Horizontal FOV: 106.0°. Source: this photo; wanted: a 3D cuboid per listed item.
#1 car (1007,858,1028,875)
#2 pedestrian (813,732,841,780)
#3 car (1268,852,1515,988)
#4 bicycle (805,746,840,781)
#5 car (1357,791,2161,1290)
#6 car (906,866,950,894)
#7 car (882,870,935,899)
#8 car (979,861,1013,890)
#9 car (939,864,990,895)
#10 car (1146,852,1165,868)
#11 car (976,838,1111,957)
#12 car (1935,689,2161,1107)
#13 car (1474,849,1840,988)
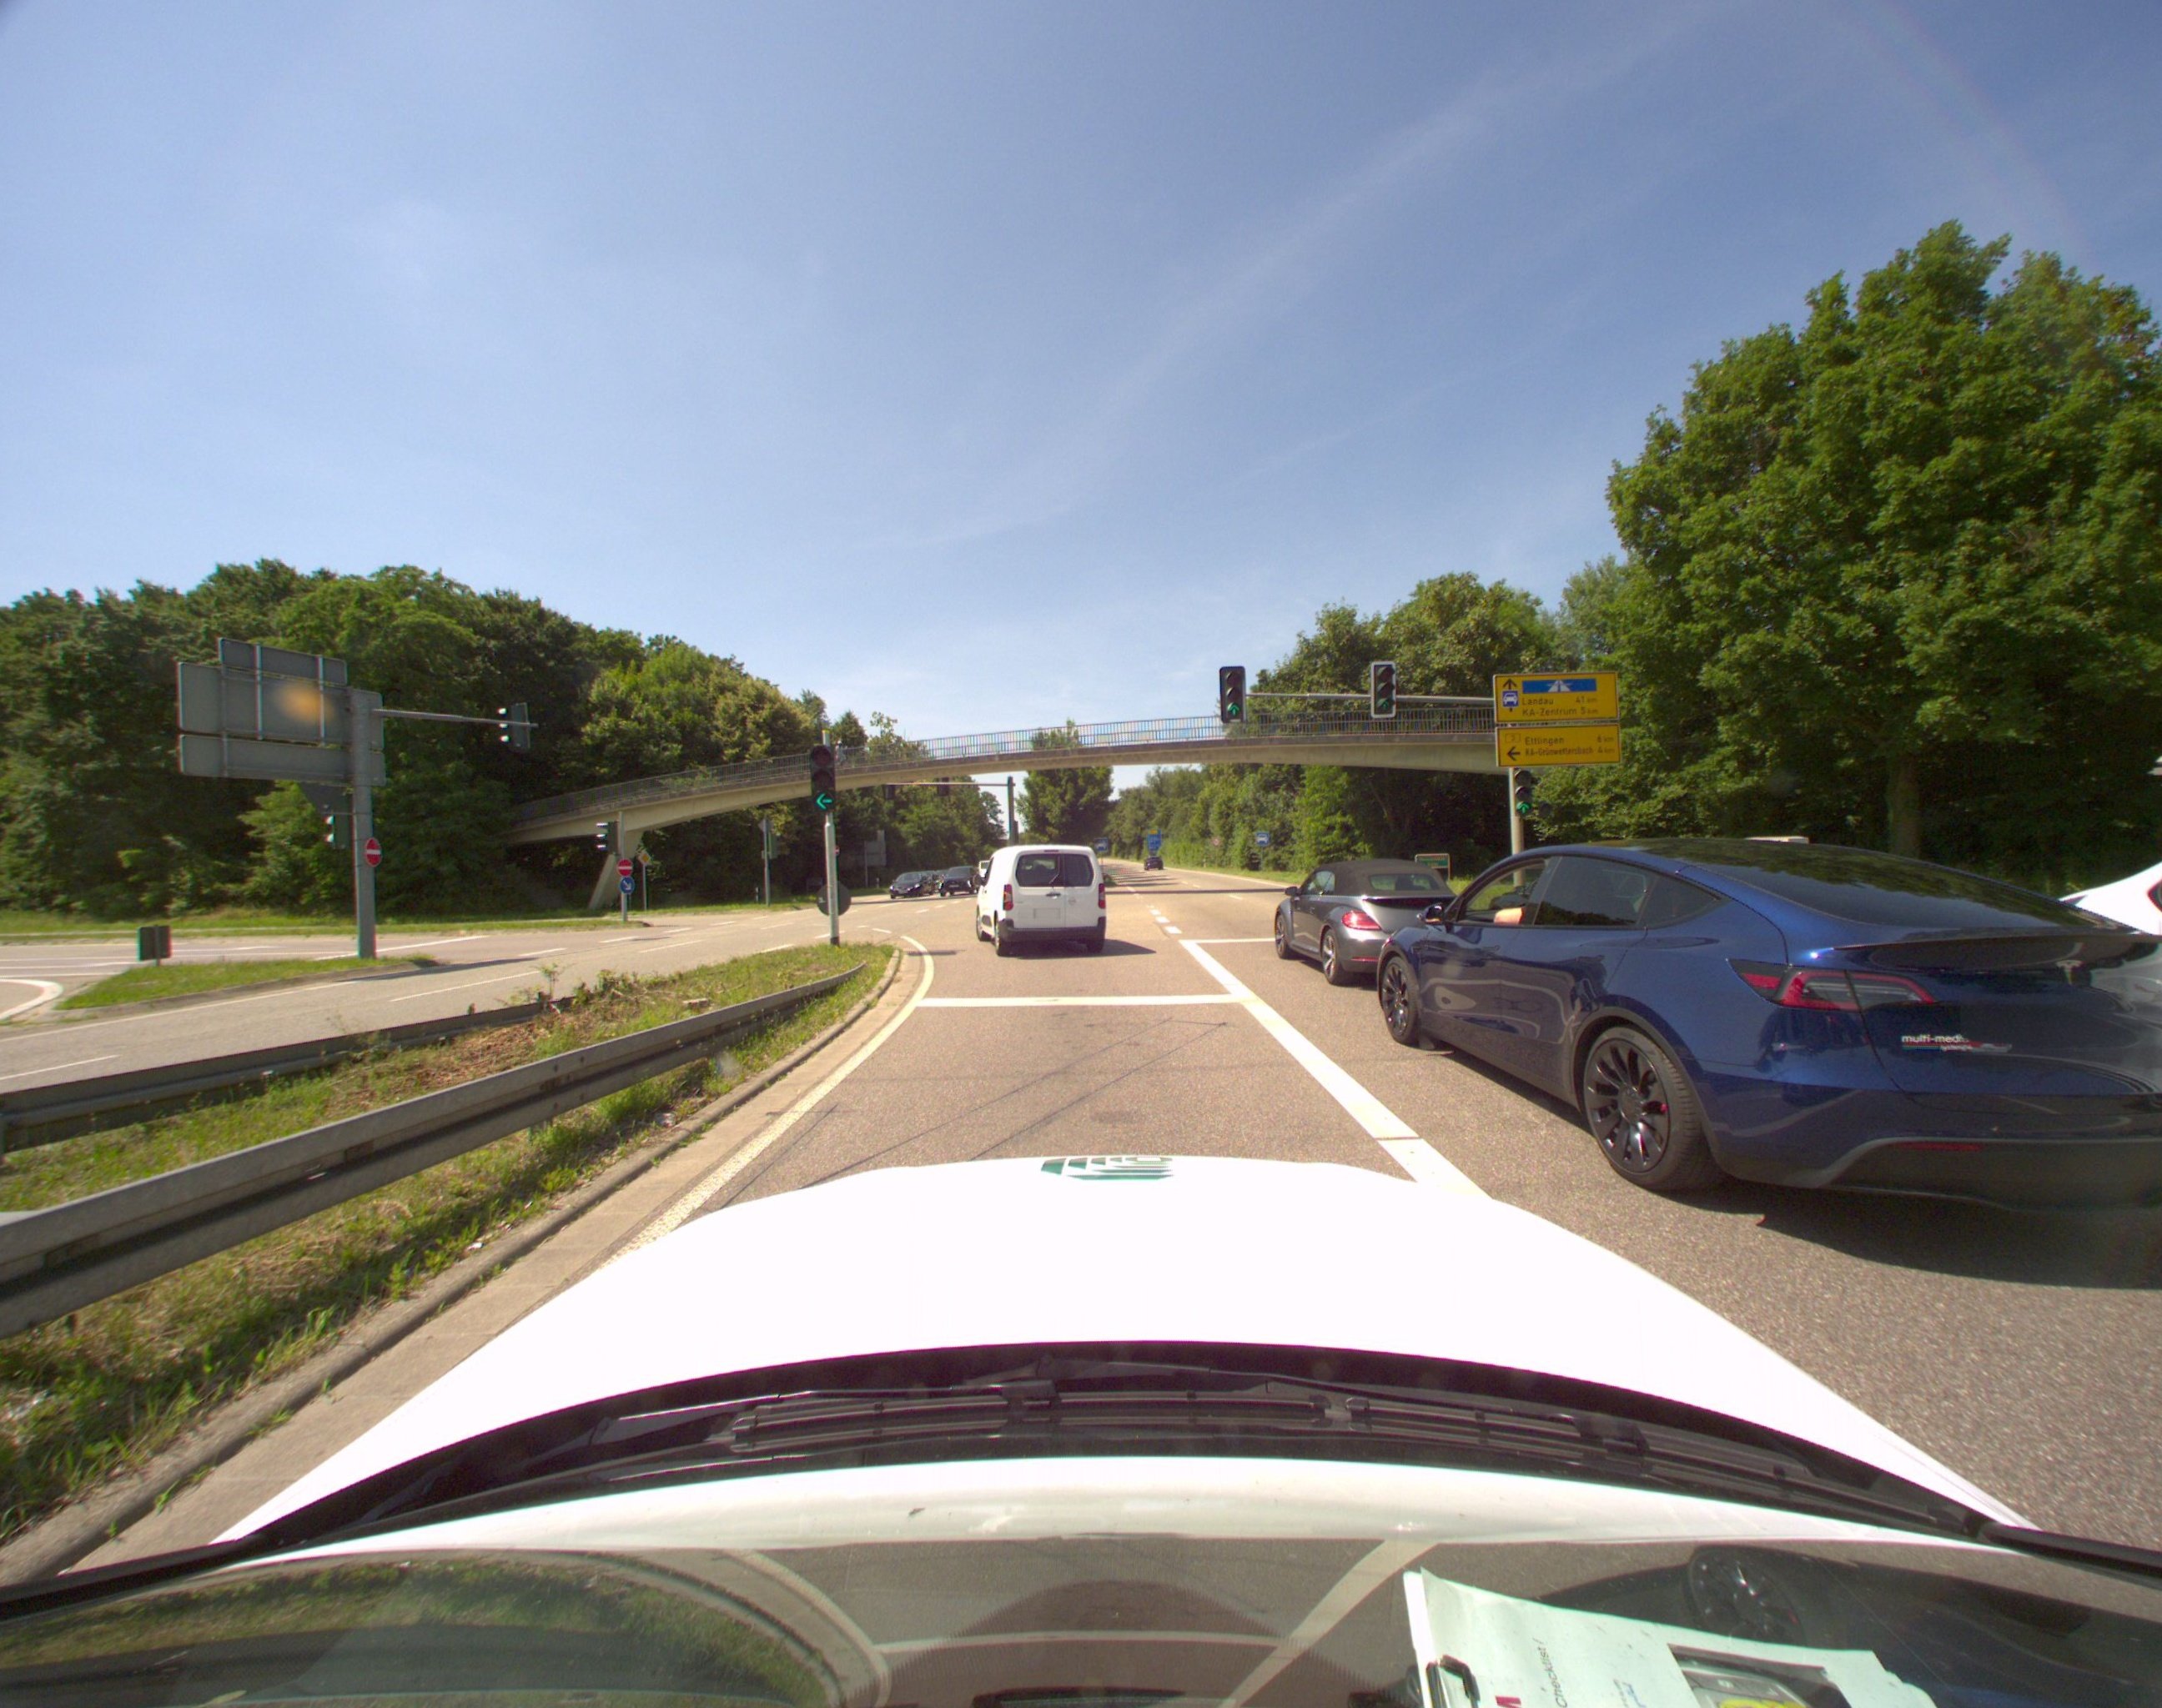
[{"bbox_3d":[-8.397,1.662,107.748,2.200,1.993,4.735,-4,-1,1],"label":"car"},{"bbox_3d":[-12.380,-4.755,39.699,0.776,2.140,0.936,-4,-2,17],"label":"pedestrian"},{"bbox_3d":[3.861,0.738,10.924,1.893,1.478,3.940,-1,0,1],"label":"car"},{"bbox_3d":[-12.477,-4.355,39.316,1.515,1.474,0.472,-4,-2,17],"label":"bicycle"},{"bbox_3d":[3.381,0.626,4.975,1.894,1.644,4.520,-1,0,1],"label":"car"},{"bbox_3d":[-9.982,1.688,53.460,1.986,1.665,4.001,-3,0,1],"label":"car"},{"bbox_3d":[-9.852,1.716,46.754,2.001,1.460,4.056,-4,-1,1],"label":"car"},{"bbox_3d":[-6.567,1.655,63.524,2.203,1.993,5.481,-3,-1,-3],"label":"car"},{"bbox_3d":[-6.249,1.344,44.078,1.986,1.523,4.029,-3,-1,1],"label":"car"},{"bbox_3d":[8.818,0.705,96.726,2.034,1.699,5.089,-2,0,2],"label":"car"},{"bbox_3d":[-0.821,0.697,14.773,1.850,1.825,3.965,-1,-1,-12],"label":"car"},{"bbox_3d":[6.998,0.229,3.242,1.926,2.349,5.076,-1,-1,1],"label":"car"},{"bbox_3d":[7.223,0.704,10.918,1.893,1.478,4.382,-1,0,2],"label":"car"}]
